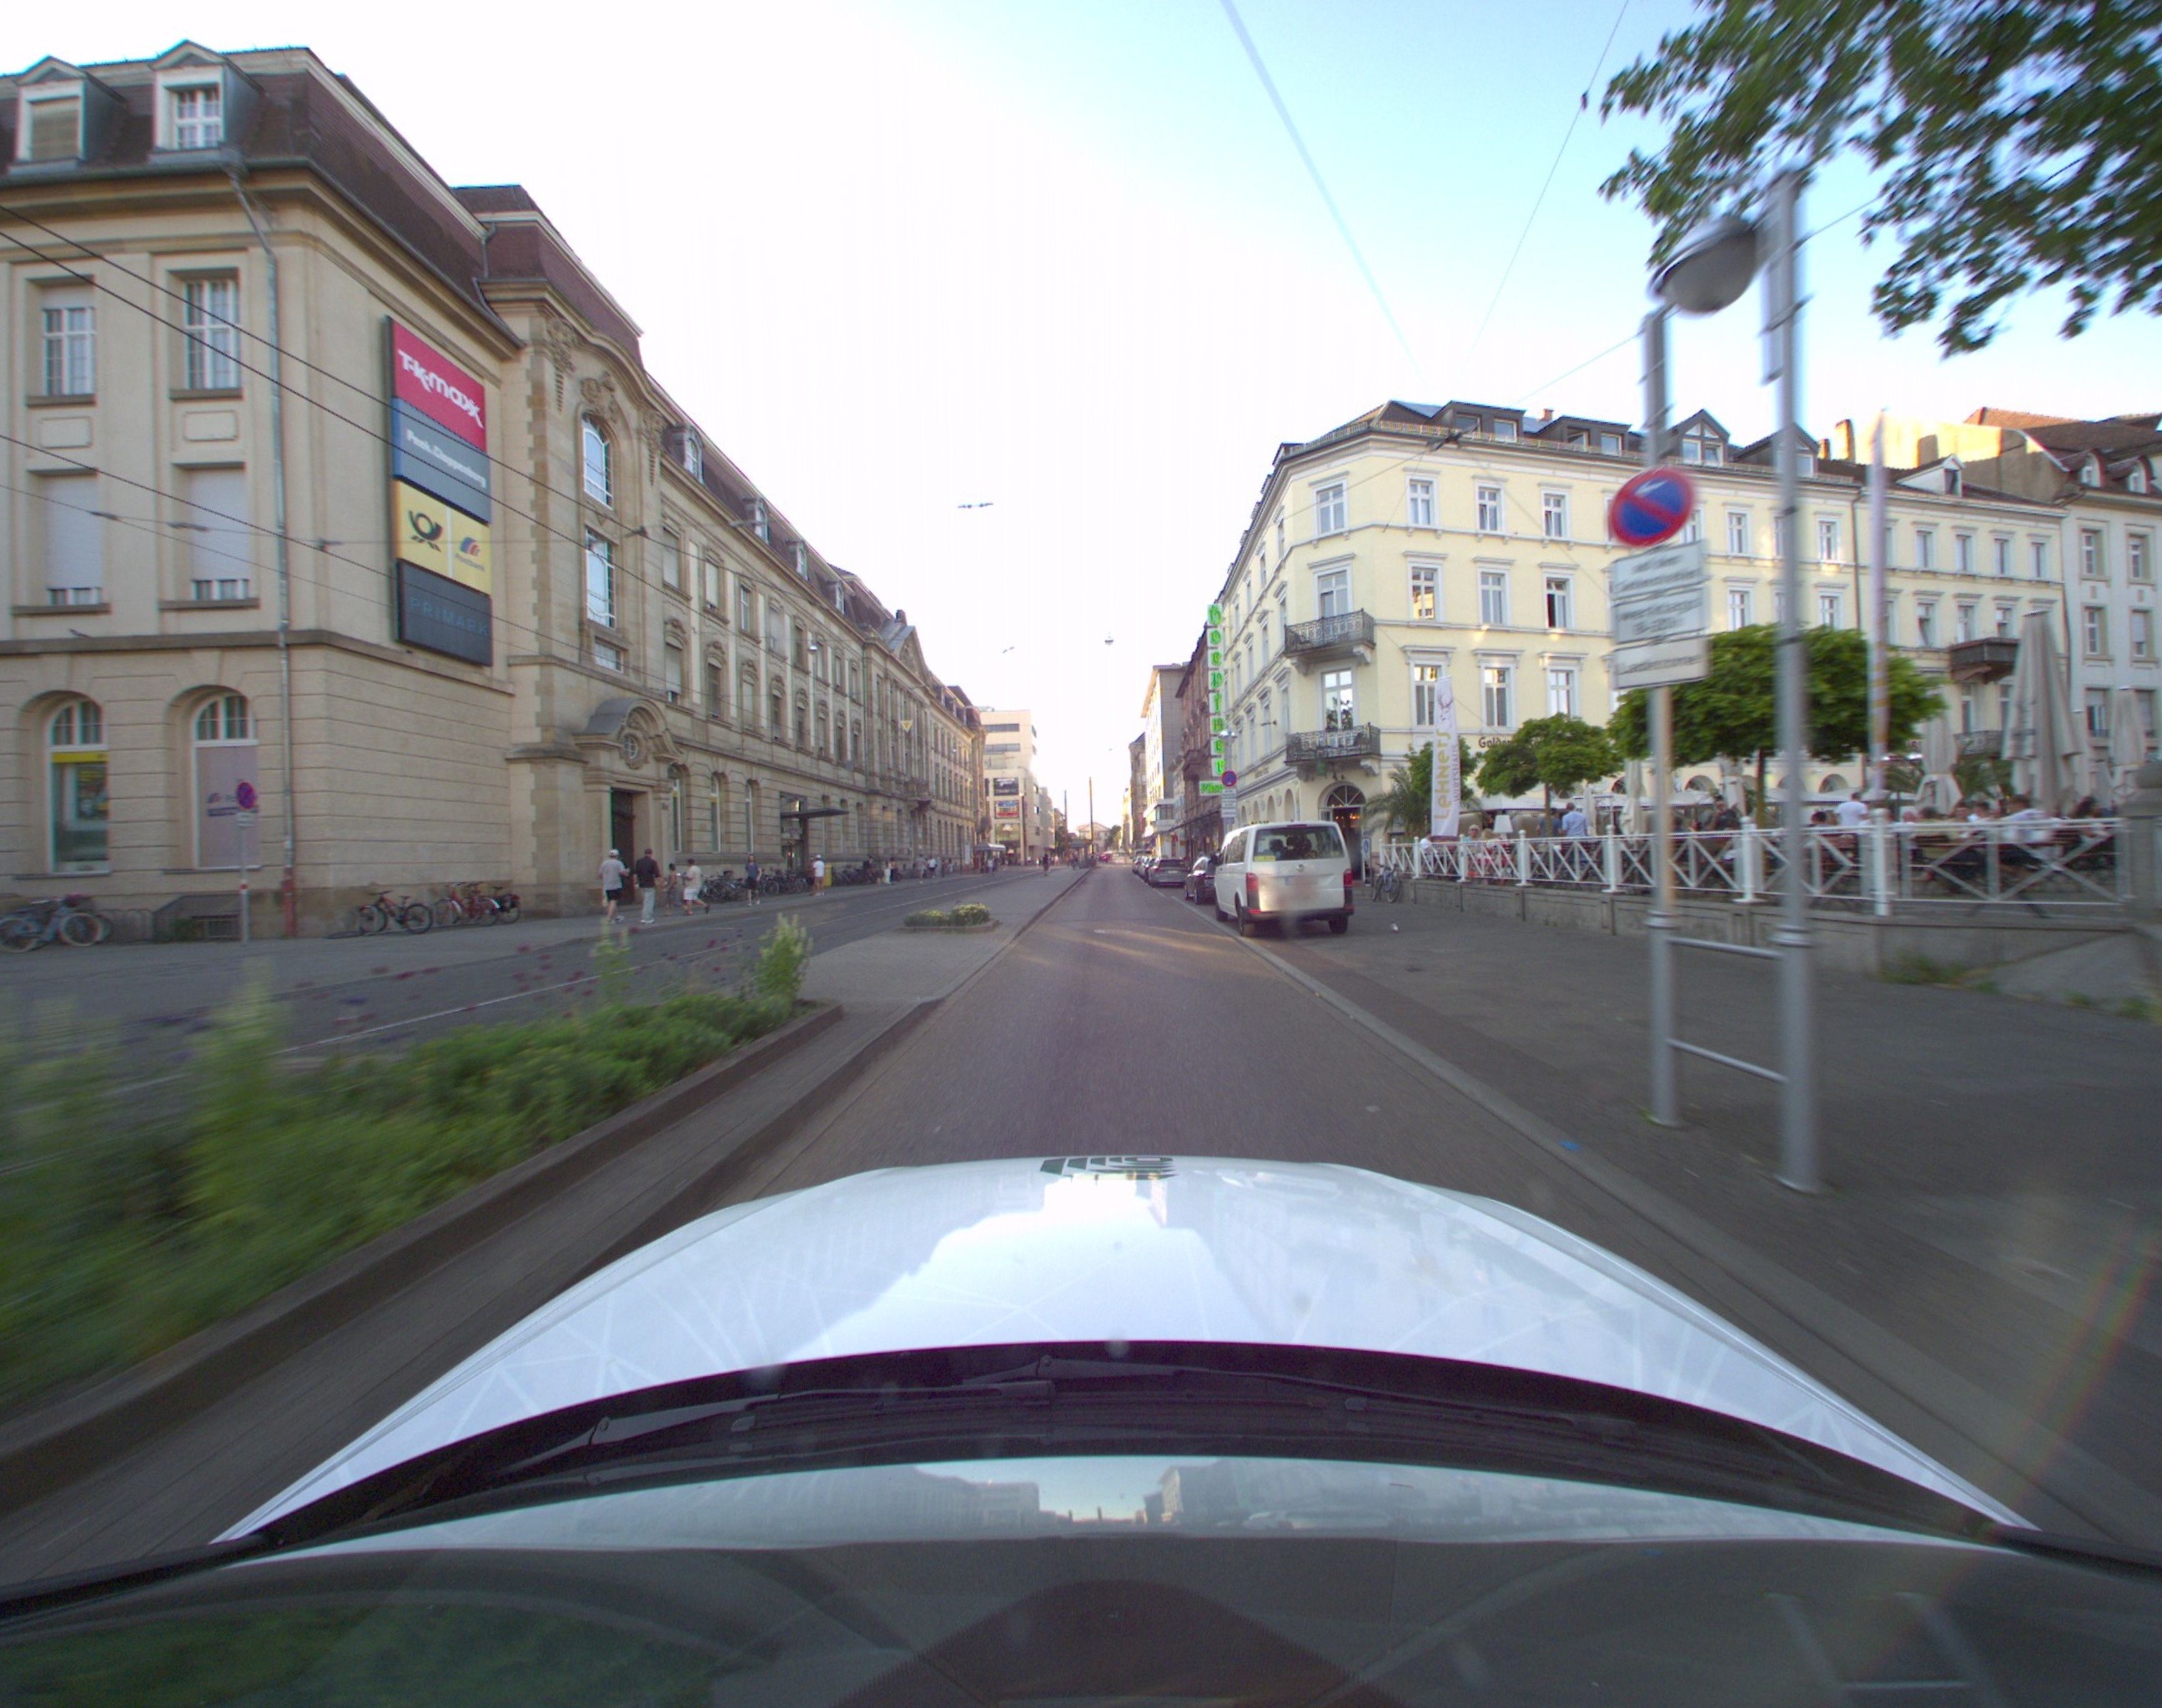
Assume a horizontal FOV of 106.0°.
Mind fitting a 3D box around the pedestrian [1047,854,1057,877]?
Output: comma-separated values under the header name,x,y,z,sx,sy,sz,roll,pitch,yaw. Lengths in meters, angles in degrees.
name,x,y,z,sx,sy,sz,roll,pitch,yaw
pedestrian,-2.078,0.845,58.561,0.670,1.636,0.761,-2,0,-6

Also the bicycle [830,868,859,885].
name,x,y,z,sx,sy,sz,roll,pitch,yaw
bicycle,-14.053,1.330,48.465,1.583,0.949,0.358,-2,-2,-11

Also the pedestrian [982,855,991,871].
name,x,y,z,sx,sy,sz,roll,pitch,yaw
pedestrian,-9.375,0.918,80.483,0.777,1.580,0.676,-2,0,-10

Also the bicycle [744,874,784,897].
name,x,y,z,sx,sy,sz,roll,pitch,yaw
bicycle,-13.799,1.368,35.454,1.583,0.949,0.358,-2,-2,-11

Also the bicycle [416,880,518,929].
name,x,y,z,sx,sy,sz,roll,pitch,yaw
bicycle,-15.686,1.270,20.825,2.092,1.148,0.574,-2,-2,-3

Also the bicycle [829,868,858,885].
name,x,y,z,sx,sy,sz,roll,pitch,yaw
bicycle,-14.024,1.330,48.063,1.582,0.949,0.358,-2,-2,-9

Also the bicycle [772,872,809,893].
name,x,y,z,sx,sy,sz,roll,pitch,yaw
bicycle,-14.044,1.377,39.386,1.583,0.949,0.358,-2,-2,-11

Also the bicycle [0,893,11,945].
name,x,y,z,sx,sy,sz,roll,pitch,yaw
bicycle,-24.289,1.461,17.223,0.571,1.148,2.101,-2,0,-3

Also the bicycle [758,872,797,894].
name,x,y,z,sx,sy,sz,roll,pitch,yaw
bicycle,-13.996,1.355,37.579,1.583,0.949,0.358,-2,-2,-11

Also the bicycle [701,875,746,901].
name,x,y,z,sx,sy,sz,roll,pitch,yaw
bicycle,-14.139,1.334,32.240,1.583,0.949,0.358,-2,-2,-11

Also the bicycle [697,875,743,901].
name,x,y,z,sx,sy,sz,roll,pitch,yaw
bicycle,-14.073,1.324,31.790,1.583,0.949,0.357,-2,-2,-11

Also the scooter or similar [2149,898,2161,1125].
name,x,y,z,sx,sy,sz,roll,pitch,yaw
scooter or similar,3.776,0.709,2.260,1.120,1.216,0.301,-3,0,3

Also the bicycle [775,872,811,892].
name,x,y,z,sx,sy,sz,roll,pitch,yaw
bicycle,-14.084,1.374,39.838,1.583,0.949,0.358,-2,-2,-11

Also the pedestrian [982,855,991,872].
name,x,y,z,sx,sy,sz,roll,pitch,yaw
pedestrian,-9.230,0.917,79.633,0.773,1.580,0.676,-2,0,-10

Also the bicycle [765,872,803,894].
name,x,y,z,sx,sy,sz,roll,pitch,yaw
bicycle,-13.876,1.360,38.050,1.583,0.949,0.358,-2,-2,-10

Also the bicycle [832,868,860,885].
name,x,y,z,sx,sy,sz,roll,pitch,yaw
bicycle,-14.097,1.333,48.900,1.583,0.949,0.358,-2,-2,-11

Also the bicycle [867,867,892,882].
name,x,y,z,sx,sy,sz,roll,pitch,yaw
bicycle,-13.559,1.367,54.870,1.583,0.949,0.358,-2,-2,-11

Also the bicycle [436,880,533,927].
name,x,y,z,sx,sy,sz,roll,pitch,yaw
bicycle,-15.726,1.295,21.493,2.072,1.148,0.574,-2,-2,-3

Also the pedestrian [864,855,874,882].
name,x,y,z,sx,sy,sz,roll,pitch,yaw
pedestrian,-13.366,0.890,51.351,0.517,1.672,0.480,-1,0,-14

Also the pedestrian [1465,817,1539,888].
name,x,y,z,sx,sy,sz,roll,pitch,yaw
pedestrian,8.242,-0.019,15.991,0.899,1.314,0.967,-2,-2,1

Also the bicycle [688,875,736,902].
name,x,y,z,sx,sy,sz,roll,pitch,yaw
bicycle,-13.975,1.288,30.850,1.583,0.949,0.358,-2,-1,-11

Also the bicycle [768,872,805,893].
name,x,y,z,sx,sy,sz,roll,pitch,yaw
bicycle,-13.928,1.356,38.487,1.583,0.949,0.358,-2,-2,-11

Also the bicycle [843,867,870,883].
name,x,y,z,sx,sy,sz,roll,pitch,yaw
bicycle,-13.944,1.314,50.560,1.583,0.949,0.358,-2,-2,-11

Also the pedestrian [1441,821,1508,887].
name,x,y,z,sx,sy,sz,roll,pitch,yaw
pedestrian,8.265,0.011,17.141,0.899,1.306,0.967,-2,-2,1

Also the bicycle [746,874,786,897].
name,x,y,z,sx,sy,sz,roll,pitch,yaw
bicycle,-13.885,1.377,35.891,1.583,0.949,0.358,-2,-1,-11

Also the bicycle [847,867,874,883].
name,x,y,z,sx,sy,sz,roll,pitch,yaw
bicycle,-13.889,1.325,51.295,1.583,0.949,0.358,-2,-2,-11

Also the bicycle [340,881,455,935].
name,x,y,z,sx,sy,sz,roll,pitch,yaw
bicycle,-15.755,1.233,18.793,2.092,1.148,0.574,-2,-2,-3

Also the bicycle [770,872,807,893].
name,x,y,z,sx,sy,sz,roll,pitch,yaw
bicycle,-13.980,1.369,38.928,1.582,0.949,0.358,-2,-2,-10

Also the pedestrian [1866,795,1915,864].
name,x,y,z,sx,sy,sz,roll,pitch,yaw
pedestrian,18.729,-0.563,18.846,0.512,1.548,0.574,-1,-2,-20

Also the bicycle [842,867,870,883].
name,x,y,z,sx,sy,sz,roll,pitch,yaw
bicycle,-13.853,1.301,50.097,1.583,0.949,0.358,-2,-2,-11

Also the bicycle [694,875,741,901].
name,x,y,z,sx,sy,sz,roll,pitch,yaw
bicycle,-14.017,1.304,31.392,1.583,0.949,0.358,-2,-2,-11

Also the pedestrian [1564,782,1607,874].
name,x,y,z,sx,sy,sz,roll,pitch,yaw
pedestrian,12.917,-0.662,20.846,0.614,2.304,0.577,-1,-2,-20

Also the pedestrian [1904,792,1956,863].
name,x,y,z,sx,sy,sz,roll,pitch,yaw
pedestrian,18.954,-0.585,18.181,0.512,1.548,0.574,-1,-2,-20

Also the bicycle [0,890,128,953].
name,x,y,z,sx,sy,sz,roll,pitch,yaw
bicycle,-21.495,1.384,17.083,0.571,1.148,2.101,-2,0,-3

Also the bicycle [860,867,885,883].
name,x,y,z,sx,sy,sz,roll,pitch,yaw
bicycle,-13.669,1.371,53.410,1.583,0.949,0.358,-2,-2,-11

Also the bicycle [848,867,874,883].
name,x,y,z,sx,sy,sz,roll,pitch,yaw
bicycle,-13.972,1.344,51.740,1.583,0.949,0.358,-2,-2,-11

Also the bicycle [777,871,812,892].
name,x,y,z,sx,sy,sz,roll,pitch,yaw
bicycle,-14.152,1.366,40.283,1.583,0.949,0.358,-2,-2,-11

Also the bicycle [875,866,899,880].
name,x,y,z,sx,sy,sz,roll,pitch,yaw
bicycle,-13.475,1.335,56.587,1.583,0.949,0.358,-2,-1,-11

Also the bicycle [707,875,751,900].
name,x,y,z,sx,sy,sz,roll,pitch,yaw
bicycle,-14.280,1.351,33.054,1.583,0.949,0.358,-2,-2,-11

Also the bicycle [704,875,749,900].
name,x,y,z,sx,sy,sz,roll,pitch,yaw
bicycle,-14.202,1.339,32.649,1.583,0.949,0.358,-2,-2,-11

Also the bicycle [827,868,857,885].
name,x,y,z,sx,sy,sz,roll,pitch,yaw
bicycle,-13.962,1.320,47.611,1.583,0.949,0.358,-2,-2,-11

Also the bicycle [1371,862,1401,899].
name,x,y,z,sx,sy,sz,roll,pitch,yaw
bicycle,7.717,0.662,20.626,0.249,0.902,1.374,-2,-2,2

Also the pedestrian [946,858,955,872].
name,x,y,z,sx,sy,sz,roll,pitch,yaw
pedestrian,-12.848,1.080,80.250,0.626,1.429,0.712,-2,0,8

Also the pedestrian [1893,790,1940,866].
name,x,y,z,sx,sy,sz,roll,pitch,yaw
pedestrian,17.733,-0.542,17.295,0.514,1.548,0.571,-1,-3,-38
